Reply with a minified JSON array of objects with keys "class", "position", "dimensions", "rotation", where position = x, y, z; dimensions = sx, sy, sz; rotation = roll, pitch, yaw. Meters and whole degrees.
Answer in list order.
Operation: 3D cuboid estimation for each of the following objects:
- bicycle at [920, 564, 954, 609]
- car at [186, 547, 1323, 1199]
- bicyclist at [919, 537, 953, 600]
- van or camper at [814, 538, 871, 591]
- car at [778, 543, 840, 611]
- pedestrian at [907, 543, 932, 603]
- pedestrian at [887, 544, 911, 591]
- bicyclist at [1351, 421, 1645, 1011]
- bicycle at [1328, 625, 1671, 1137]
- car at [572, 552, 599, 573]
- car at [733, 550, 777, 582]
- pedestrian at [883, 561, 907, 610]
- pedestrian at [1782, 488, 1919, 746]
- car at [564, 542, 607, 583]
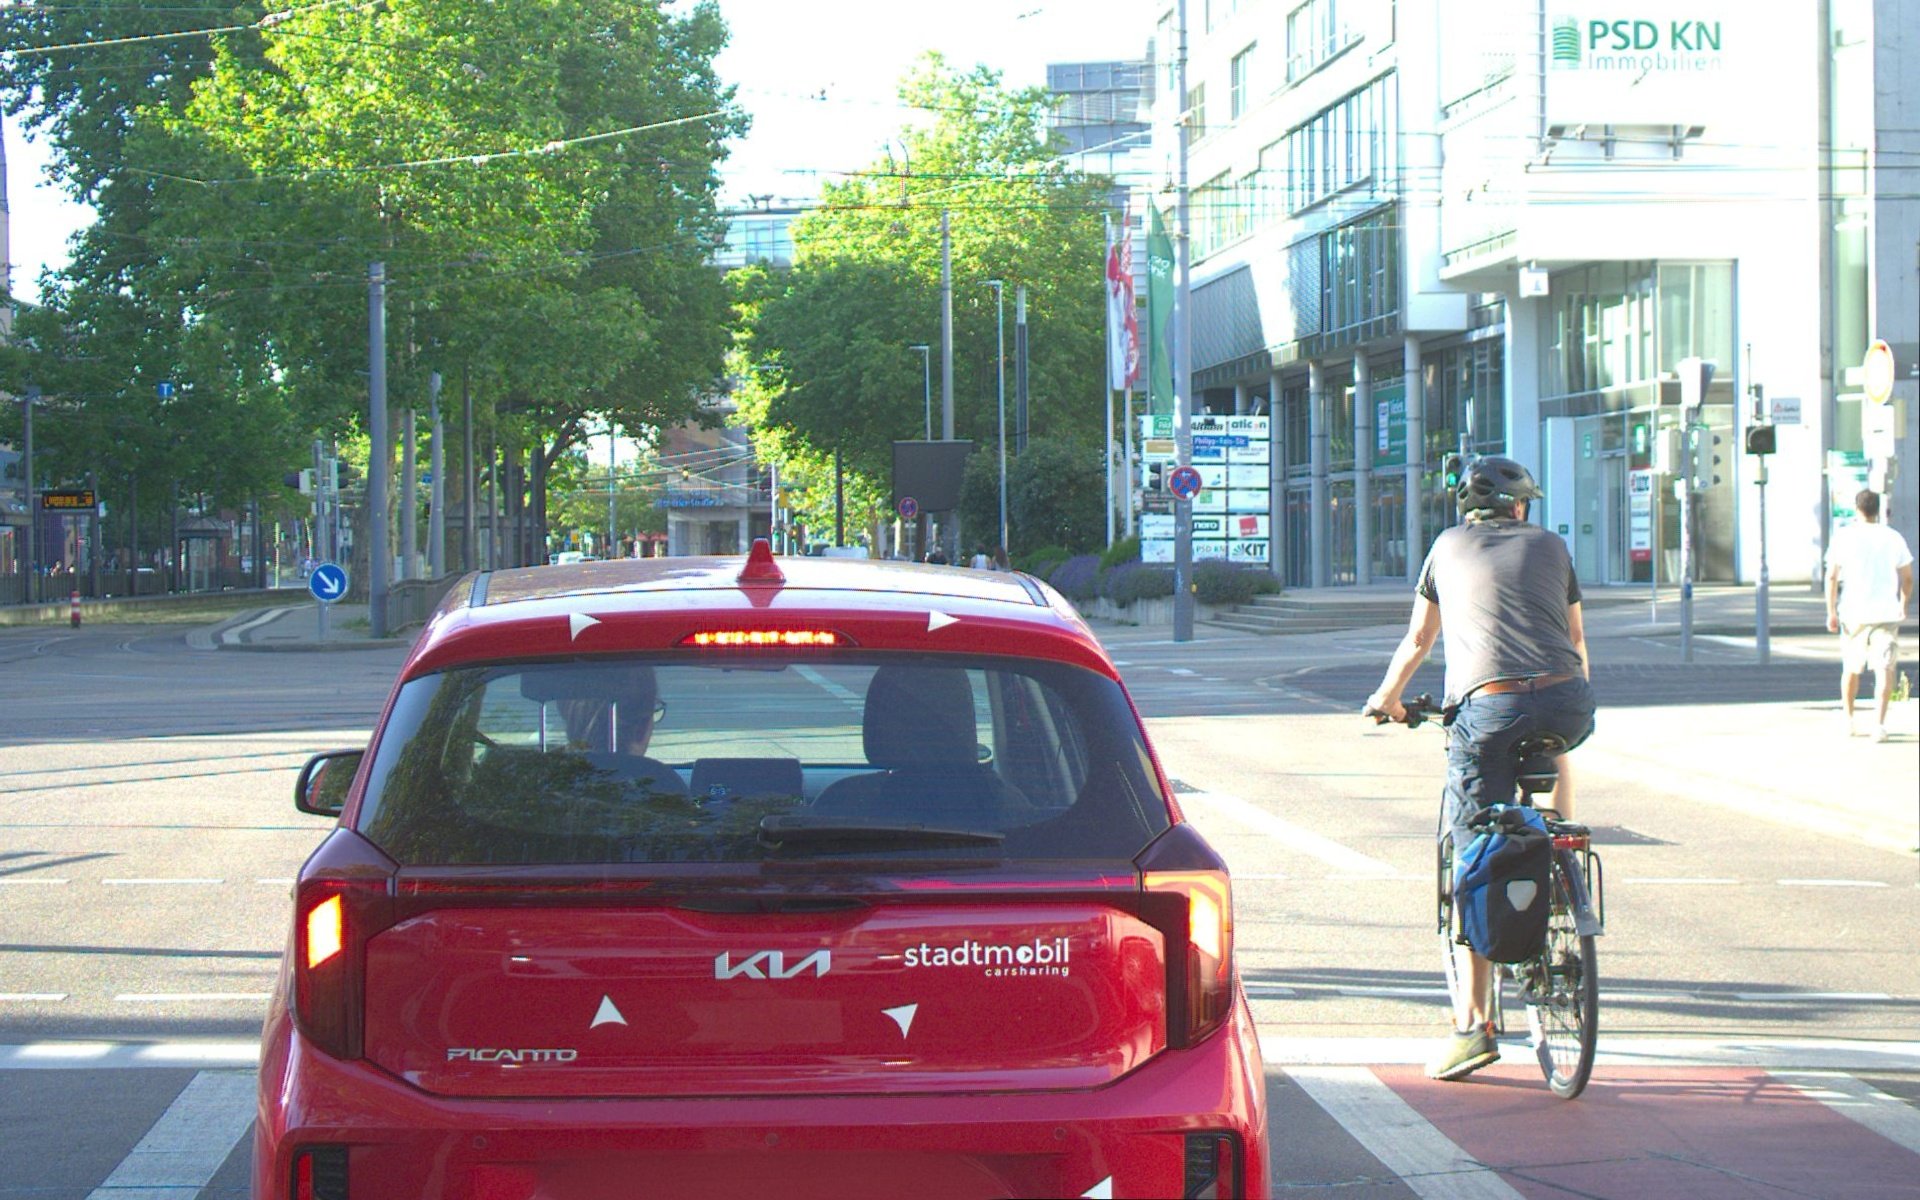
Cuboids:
[{"class":"bicycle","position":[-0.602,-0.355,90.358],"dimensions":[0.696,1.094,1.751],"rotation":[-4,2,-5]},{"class":"car","position":[-0.436,0.668,6.596],"dimensions":[1.613,1.529,3.412],"rotation":[0,1,-5]},{"class":"bicyclist","position":[-0.627,-0.827,90.296],"dimensions":[0.721,1.597,1.089],"rotation":[-3,1,-5]},{"class":"van or camper","position":[-4.546,-1.366,132.297],"dimensions":[1.993,1.982,4.745],"rotation":[0,1,-4]},{"class":"car","position":[-4.128,-0.646,93.656],"dimensions":[1.635,1.794,3.330],"rotation":[-1,1,-3]},{"class":"pedestrian","position":[-1.146,-0.773,97.473],"dimensions":[0.646,1.674,0.651],"rotation":[-1,1,-3]},{"class":"pedestrian","position":[-2.301,-1.224,129.129],"dimensions":[0.891,1.747,0.841],"rotation":[-1,1,-1]},{"class":"bicyclist","position":[1.526,0.306,9.892],"dimensions":[0.650,1.597,1.089],"rotation":[-1,1,-1]},{"class":"bicycle","position":[1.509,0.738,9.922],"dimensions":[0.650,1.276,1.966],"rotation":[-1,1,-1]},{"class":"car","position":[-27.851,-2.815,255.837],"dimensions":[1.777,1.529,3.413],"rotation":[0,1,-10]},{"class":"car","position":[-10.079,-1.672,169.048],"dimensions":[1.777,1.529,3.513],"rotation":[0,1,-10]},{"class":"pedestrian","position":[-2.180,-0.495,114.878],"dimensions":[0.642,1.574,0.723],"rotation":[-4,1,4]},{"class":"pedestrian","position":[6.458,0.113,24.943],"dimensions":[0.777,1.817,1.215],"rotation":[-1,1,5]},{"class":"car","position":[-19.137,-1.929,175.483],"dimensions":[1.993,2.007,4.001],"rotation":[-1,1,-8]}]
